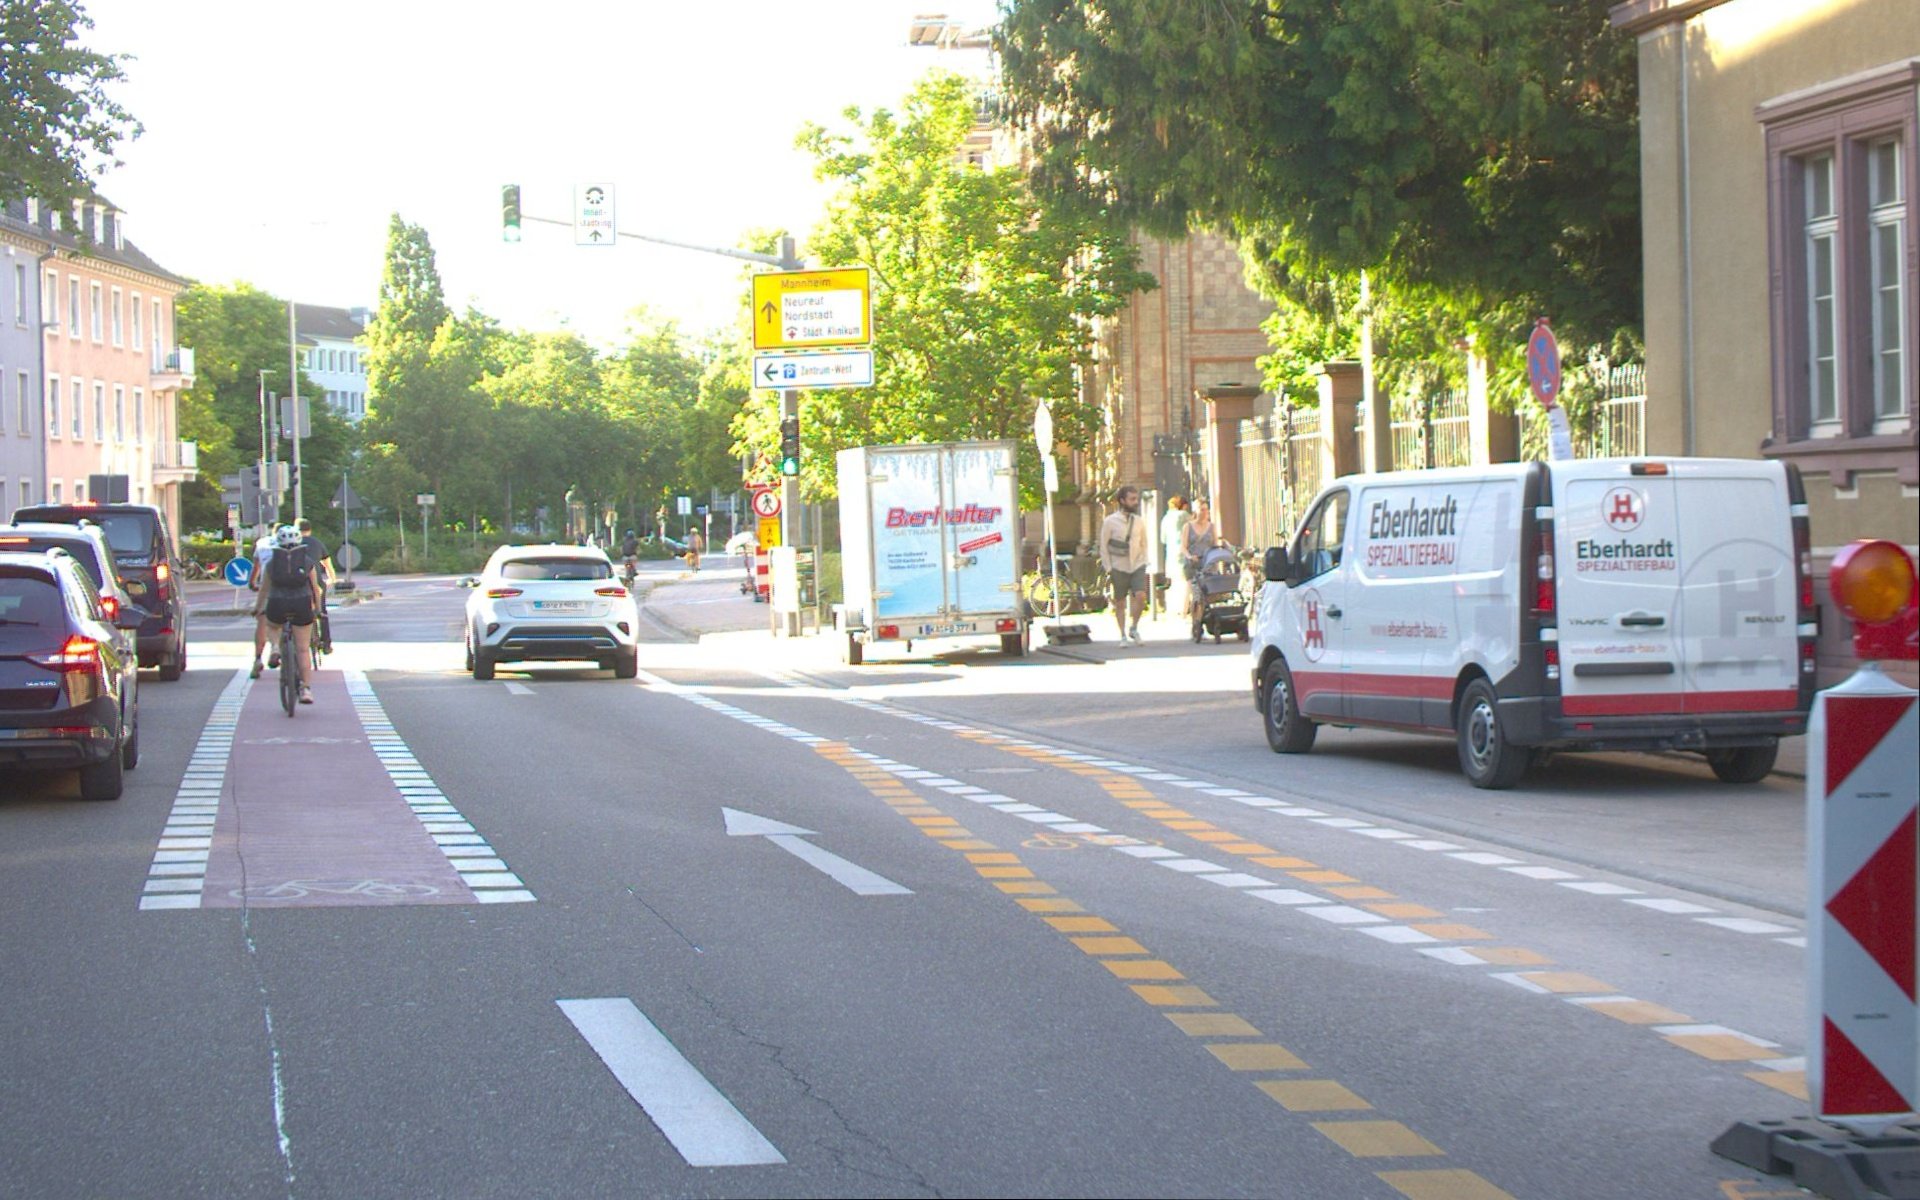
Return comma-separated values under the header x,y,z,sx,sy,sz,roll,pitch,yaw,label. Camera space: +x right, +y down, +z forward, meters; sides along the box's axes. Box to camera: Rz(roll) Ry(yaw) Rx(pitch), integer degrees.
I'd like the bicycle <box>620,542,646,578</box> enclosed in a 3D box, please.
x,y,z,sx,sy,sz,roll,pitch,yaw,label
-9.667,-1.181,101.748,0.643,1.021,2.213,0,1,-2,bicycle

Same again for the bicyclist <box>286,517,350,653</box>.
x,y,z,sx,sy,sz,roll,pitch,yaw,label
-7.750,-0.188,41.529,0.670,1.602,0.825,-2,1,-7,bicyclist

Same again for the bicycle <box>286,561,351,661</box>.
x,y,z,sx,sy,sz,roll,pitch,yaw,label
-7.743,0.118,41.546,0.642,1.151,2.077,-1,1,-7,bicycle

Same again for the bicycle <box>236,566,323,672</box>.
x,y,z,sx,sy,sz,roll,pitch,yaw,label
-7.667,0.198,38.789,0.828,1.139,1.970,-1,1,-7,bicycle

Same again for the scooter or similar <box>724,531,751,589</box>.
x,y,z,sx,sy,sz,roll,pitch,yaw,label
-5.240,-0.951,80.894,0.555,1.304,1.832,-2,2,-2,scooter or similar

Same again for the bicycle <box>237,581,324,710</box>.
x,y,z,sx,sy,sz,roll,pitch,yaw,label
-5.967,0.387,30.268,0.669,1.069,1.753,-1,1,-9,bicycle

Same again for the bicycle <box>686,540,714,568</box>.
x,y,z,sx,sy,sz,roll,pitch,yaw,label
-9.861,-1.744,130.462,0.753,1.022,1.869,0,1,6,bicycle

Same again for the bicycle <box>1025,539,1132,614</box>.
x,y,z,sx,sy,sz,roll,pitch,yaw,label
1.733,-0.351,50.400,1.466,1.035,0.479,-2,2,-9,bicycle

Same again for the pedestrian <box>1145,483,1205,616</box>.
x,y,z,sx,sy,sz,roll,pitch,yaw,label
2.892,-0.683,46.370,0.639,1.762,0.738,-2,1,-7,pedestrian

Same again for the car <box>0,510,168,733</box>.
x,y,z,sx,sy,sz,roll,pitch,yaw,label
-8.006,0.132,29.652,1.990,1.743,4.749,-2,2,-10,car

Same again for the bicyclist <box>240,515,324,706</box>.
x,y,z,sx,sy,sz,roll,pitch,yaw,label
-5.946,0.082,30.175,0.672,1.646,0.887,-1,1,-9,bicyclist

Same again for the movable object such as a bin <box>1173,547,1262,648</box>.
x,y,z,sx,sy,sz,roll,pitch,yaw,label
3.002,-0.036,40.186,0.711,1.113,1.051,-4,2,-12,movable object such as a bin

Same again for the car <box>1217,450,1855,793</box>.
x,y,z,sx,sy,sz,roll,pitch,yaw,label
3.520,0.082,22.333,2.014,1.939,5.483,0,1,-15,car

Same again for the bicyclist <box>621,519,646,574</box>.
x,y,z,sx,sy,sz,roll,pitch,yaw,label
-9.686,-1.583,101.941,0.636,1.609,1.284,0,1,-2,bicyclist

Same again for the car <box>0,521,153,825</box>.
x,y,z,sx,sy,sz,roll,pitch,yaw,label
-6.048,0.374,21.147,1.993,1.652,4.738,-2,1,-12,car

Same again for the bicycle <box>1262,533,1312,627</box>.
x,y,z,sx,sy,sz,roll,pitch,yaw,label
3.972,-0.256,41.780,0.274,1.102,1.532,-3,2,-5,bicycle

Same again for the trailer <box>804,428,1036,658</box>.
x,y,z,sx,sy,sz,roll,pitch,yaw,label
-0.553,-0.714,41.654,2.079,2.519,4.493,-3,2,-9,trailer

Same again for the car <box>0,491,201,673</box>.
x,y,z,sx,sy,sz,roll,pitch,yaw,label
-9.938,-0.224,39.716,2.067,1.909,5.035,-2,1,-11,car

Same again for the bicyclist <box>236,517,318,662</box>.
x,y,z,sx,sy,sz,roll,pitch,yaw,label
-7.694,-0.127,38.764,0.802,1.602,0.825,-2,1,-7,bicyclist

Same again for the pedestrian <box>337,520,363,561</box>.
x,y,z,sx,sy,sz,roll,pitch,yaw,label
-27.448,-2.683,154.680,0.856,1.845,1.001,-2,1,5,pedestrian

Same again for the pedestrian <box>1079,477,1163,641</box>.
x,y,z,sx,sy,sz,roll,pitch,yaw,label
1.897,-0.495,40.592,0.715,1.888,0.890,-3,2,-12,pedestrian

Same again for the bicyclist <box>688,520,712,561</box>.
x,y,z,sx,sy,sz,roll,pitch,yaw,label
-9.864,-2.252,130.489,0.747,1.532,0.969,-1,1,6,bicyclist

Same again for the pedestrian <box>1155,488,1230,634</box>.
x,y,z,sx,sy,sz,roll,pitch,yaw,label
2.769,-0.471,41.054,0.682,1.695,0.694,-3,2,-11,pedestrian

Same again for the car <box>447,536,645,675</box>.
x,y,z,sx,sy,sz,roll,pitch,yaw,label
-4.801,0.023,39.429,1.993,1.448,4.001,-2,1,-10,car
